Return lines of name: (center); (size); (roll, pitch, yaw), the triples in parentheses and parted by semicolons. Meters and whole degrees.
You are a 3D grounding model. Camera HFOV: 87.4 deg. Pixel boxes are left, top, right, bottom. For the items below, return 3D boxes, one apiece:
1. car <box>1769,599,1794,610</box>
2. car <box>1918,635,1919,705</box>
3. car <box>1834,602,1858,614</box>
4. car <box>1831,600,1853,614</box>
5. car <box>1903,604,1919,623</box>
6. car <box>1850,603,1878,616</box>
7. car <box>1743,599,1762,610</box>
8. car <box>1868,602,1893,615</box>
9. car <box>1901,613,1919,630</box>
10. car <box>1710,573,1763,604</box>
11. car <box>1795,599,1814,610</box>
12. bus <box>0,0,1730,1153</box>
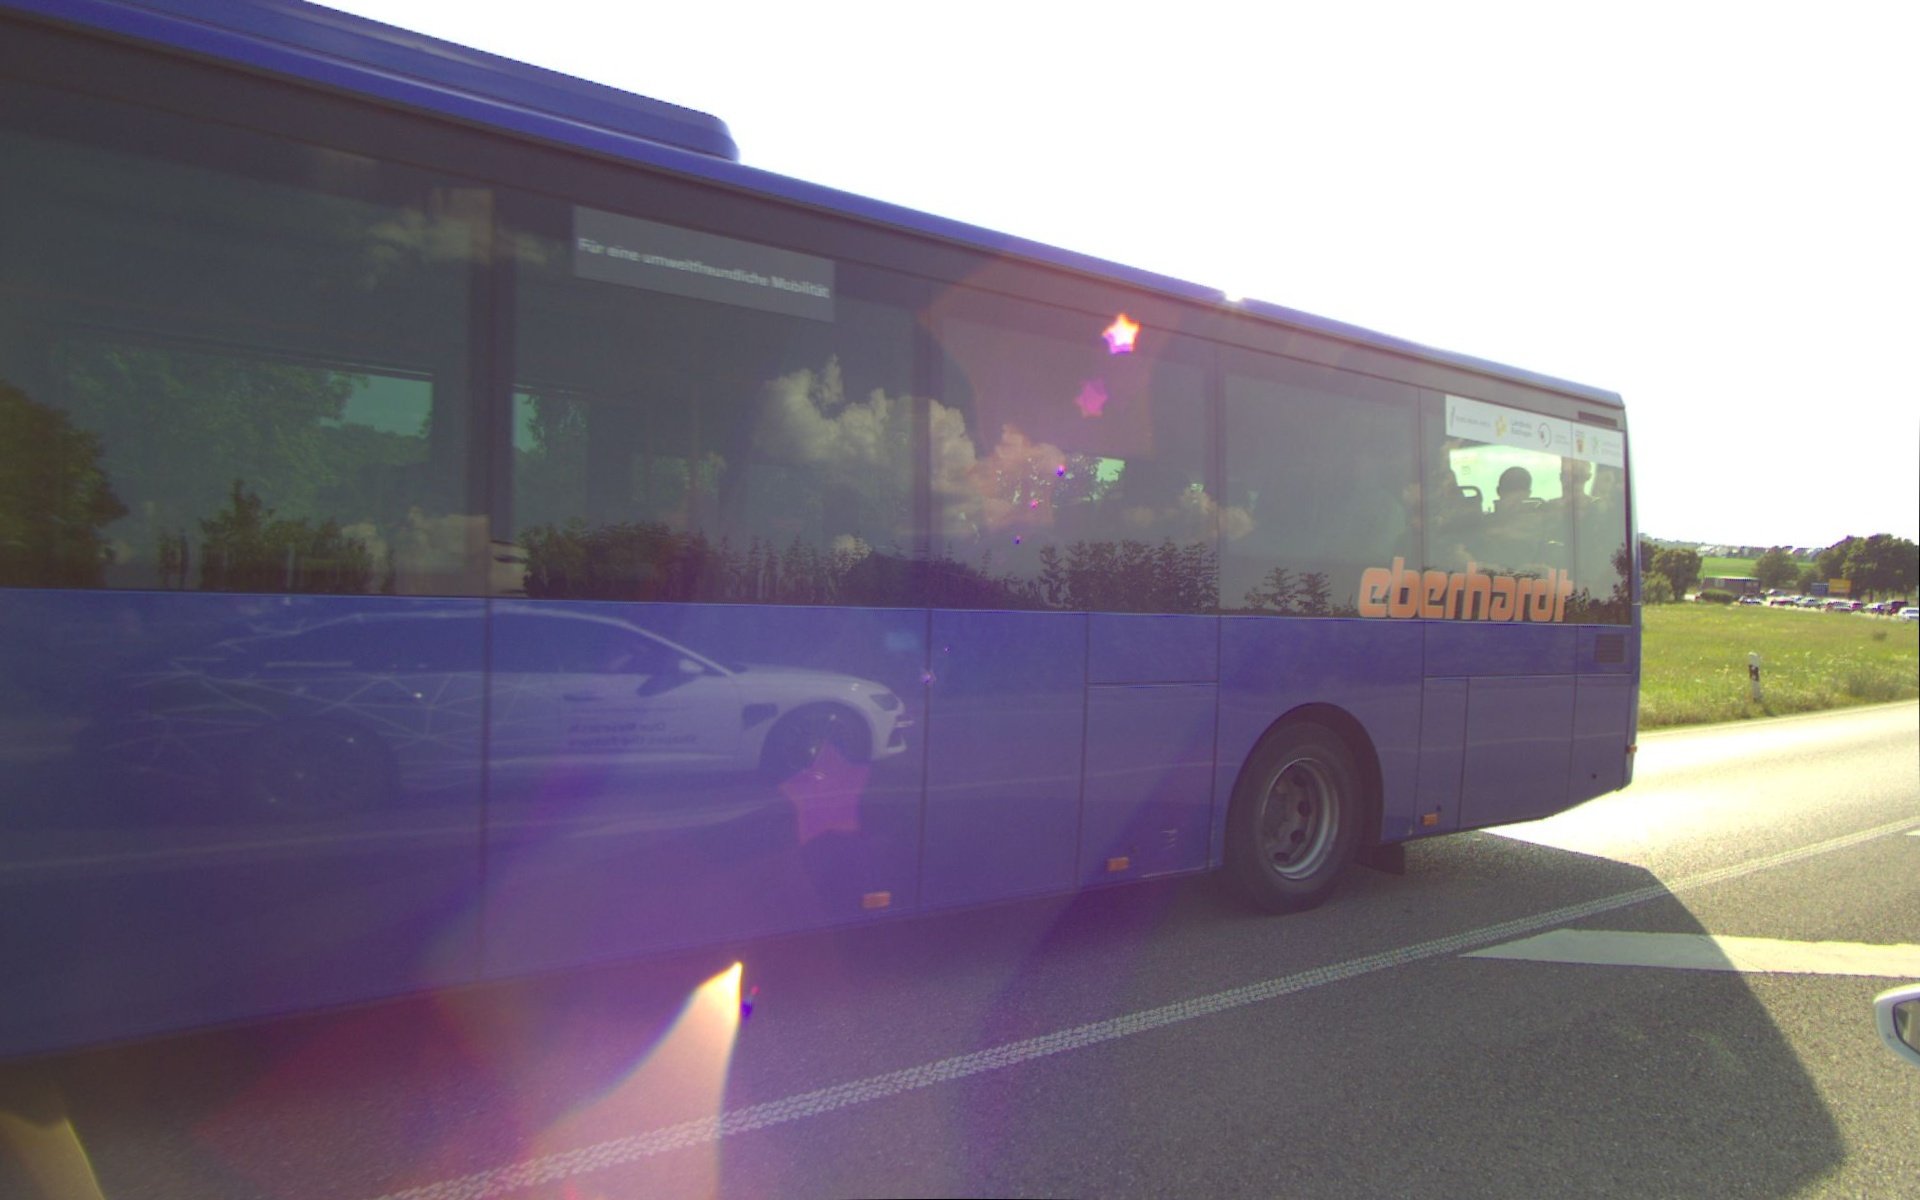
car: (132.192, 0.695, 161.674); (1.851, 1.621, 3.998); (2, 1, 22)
car: (19.829, 1.309, 18.871); (4.700, 1.351, 1.689); (2, 0, -34)
car: (124.828, 1.117, 141.554); (1.856, 1.621, 3.989); (3, 1, 33)
car: (111.607, 0.864, 127.118); (1.858, 1.621, 3.983); (3, 1, 38)
car: (84.400, 1.191, 88.058); (1.856, 1.621, 3.988); (3, 1, 34)
car: (121.661, 1.226, 135.193); (2.056, 1.621, 3.989); (3, 1, 33)
car: (124.851, 0.770, 158.273); (1.856, 1.621, 3.989); (3, 1, 33)
car: (117.743, 1.057, 128.555); (1.857, 1.621, 3.985); (3, 1, 36)
car: (97.354, 2.213, 102.358); (1.860, 1.621, 3.980); (3, 2, 40)
car: (138.173, -2.044, 178.955); (3.483, 5.127, 13.240); (2, 1, 20)
car: (130.263, 0.700, 154.974); (1.857, 1.621, 3.985); (3, 1, 37)
bus: (-0.755, -0.294, 4.740); (11.991, 3.224, 2.779); (3, 0, -32)
